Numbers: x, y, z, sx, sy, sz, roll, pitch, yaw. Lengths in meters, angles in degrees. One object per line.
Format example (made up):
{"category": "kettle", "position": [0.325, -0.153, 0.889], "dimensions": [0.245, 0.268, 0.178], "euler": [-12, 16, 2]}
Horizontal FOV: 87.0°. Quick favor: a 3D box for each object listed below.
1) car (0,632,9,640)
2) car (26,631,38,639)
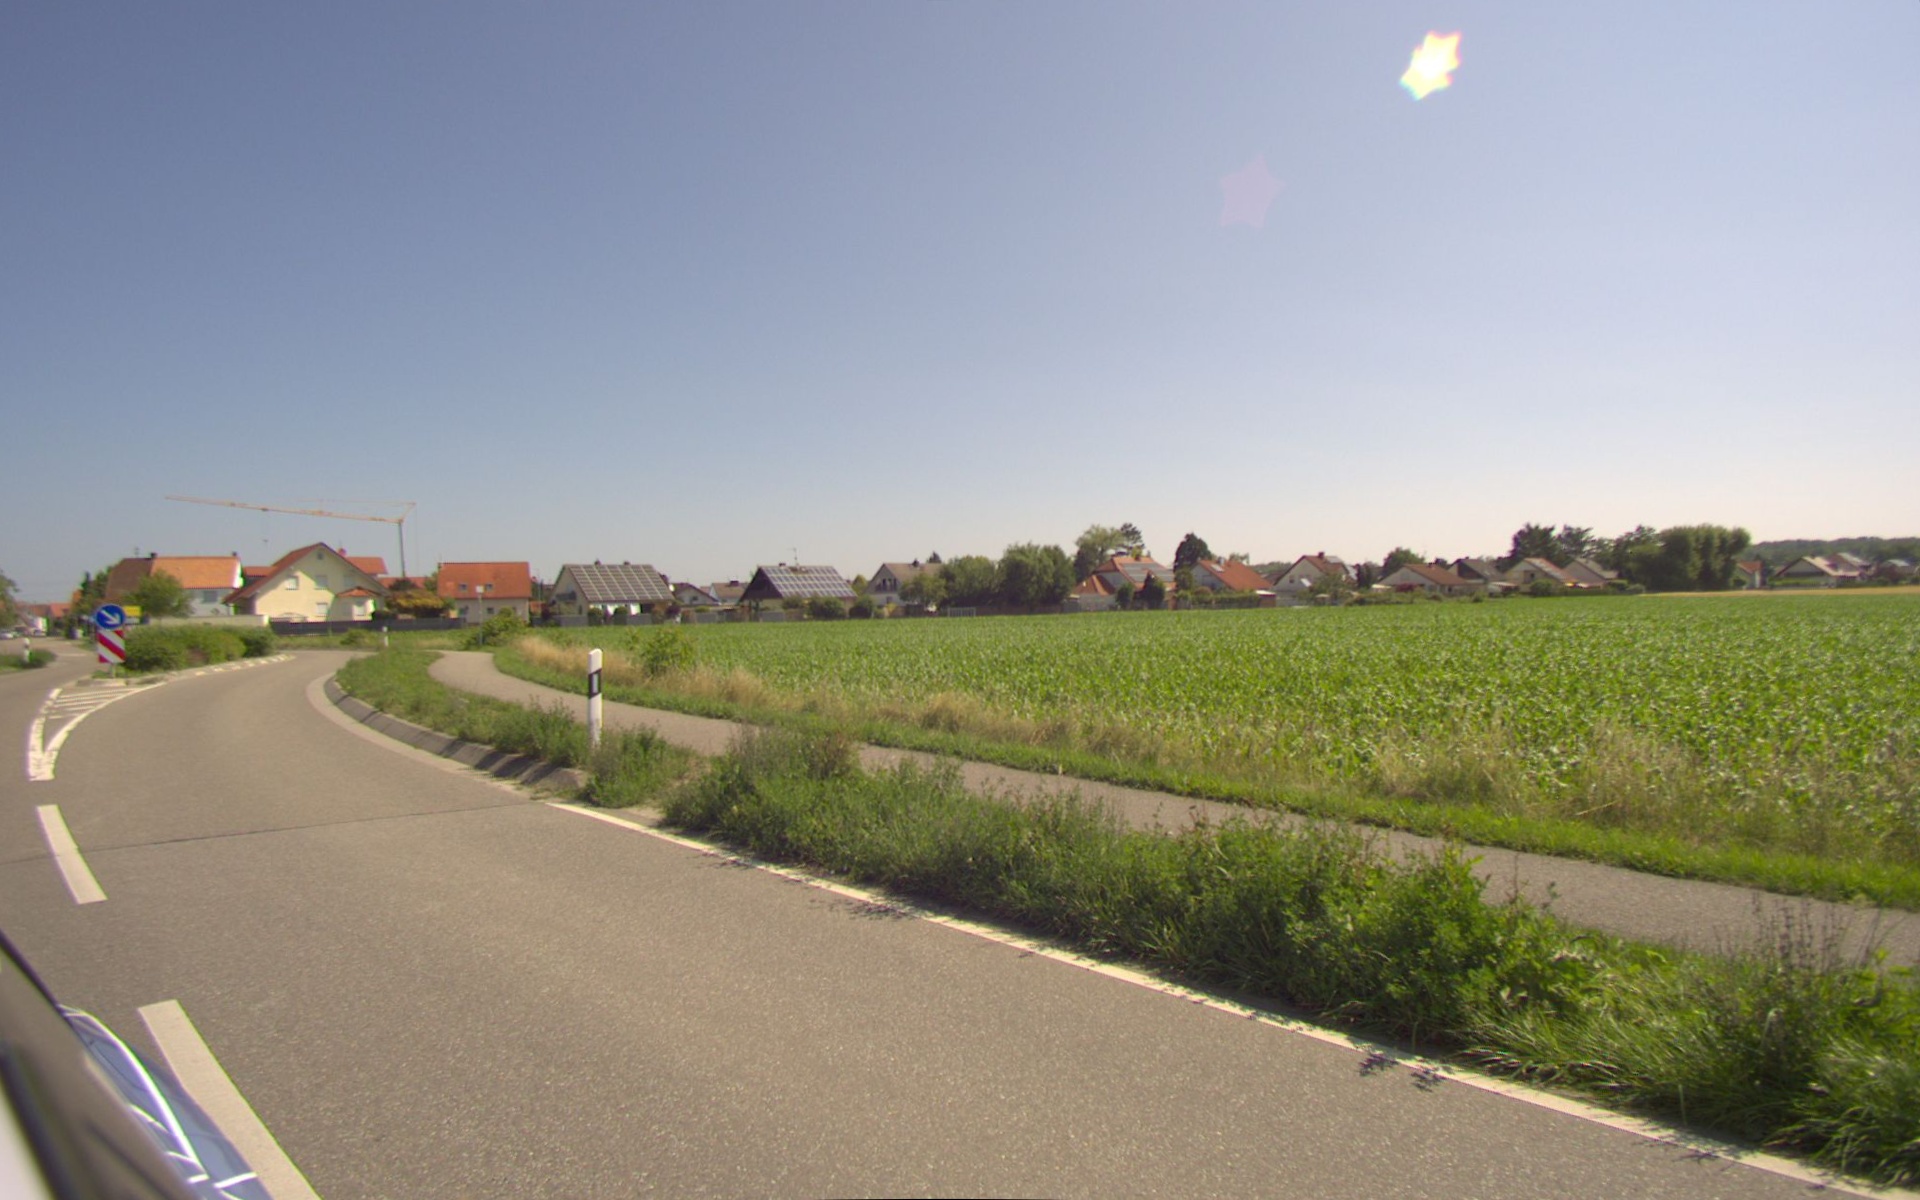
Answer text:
{"category": "car", "position": [-156.052, 5.880, 164.782], "dimensions": [1.708, 1.398, 3.536], "euler": [-1, -1, -43]}
{"category": "car", "position": [-172.033, 6.441, 187.605], "dimensions": [1.708, 1.398, 3.536], "euler": [-1, -1, -43]}
